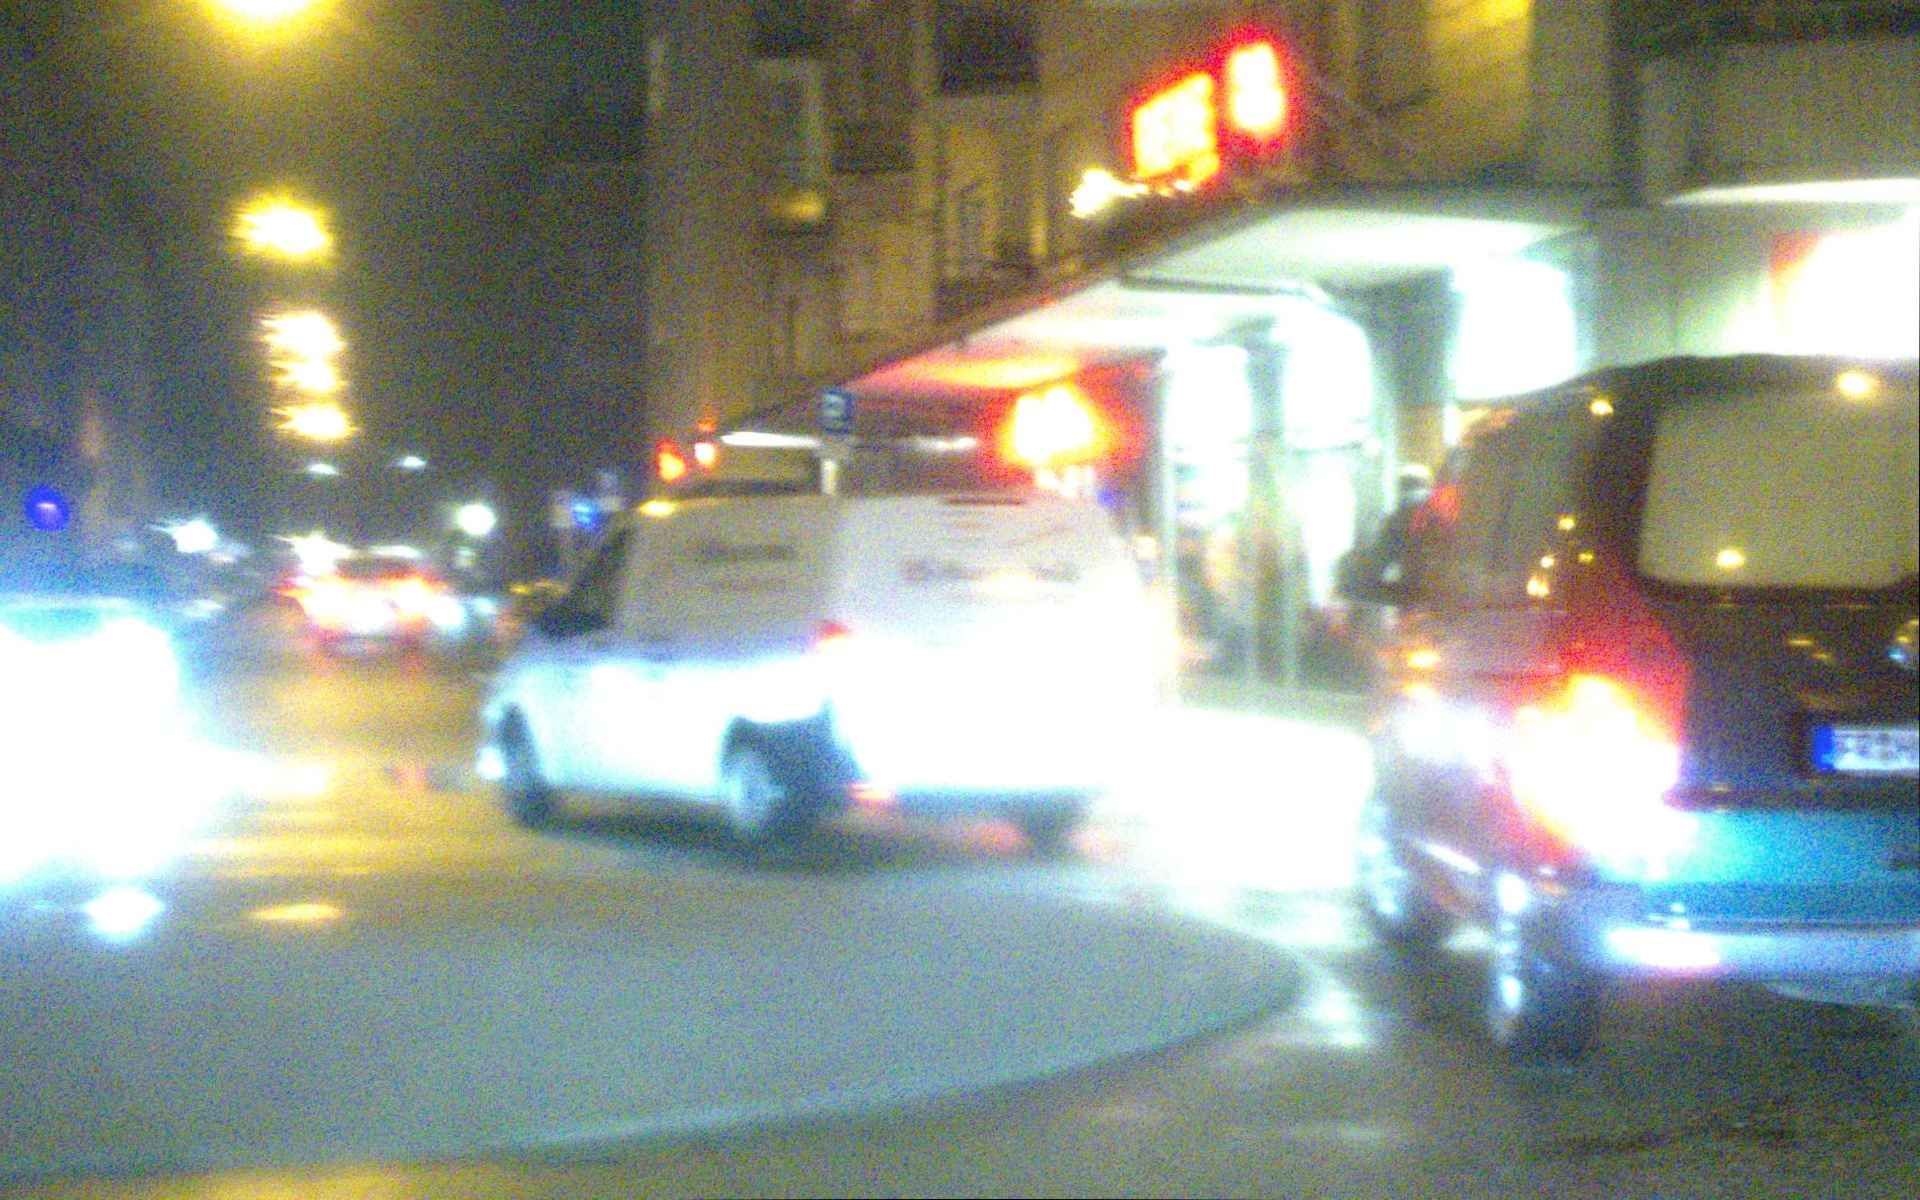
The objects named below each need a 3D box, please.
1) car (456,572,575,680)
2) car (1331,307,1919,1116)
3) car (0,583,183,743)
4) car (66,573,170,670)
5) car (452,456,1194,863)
[{"bbox_3d":[-6.641,0.387,51.121,1.591,1.538,3.421,1,-1,-10],"label":"car"},{"bbox_3d":[2.393,0.259,10.734,2.123,1.984,4.600,0,0,2],"label":"car"},{"bbox_3d":[-8.620,0.573,33.917,1.562,1.422,4.070,-2,1,-9],"label":"car"},{"bbox_3d":[-18.371,0.461,75.158,1.993,2.007,4.001,1,0,-11],"label":"car"},{"bbox_3d":[-0.921,0.253,18.780,2.122,1.916,4.826,0,1,-28],"label":"car"}]
